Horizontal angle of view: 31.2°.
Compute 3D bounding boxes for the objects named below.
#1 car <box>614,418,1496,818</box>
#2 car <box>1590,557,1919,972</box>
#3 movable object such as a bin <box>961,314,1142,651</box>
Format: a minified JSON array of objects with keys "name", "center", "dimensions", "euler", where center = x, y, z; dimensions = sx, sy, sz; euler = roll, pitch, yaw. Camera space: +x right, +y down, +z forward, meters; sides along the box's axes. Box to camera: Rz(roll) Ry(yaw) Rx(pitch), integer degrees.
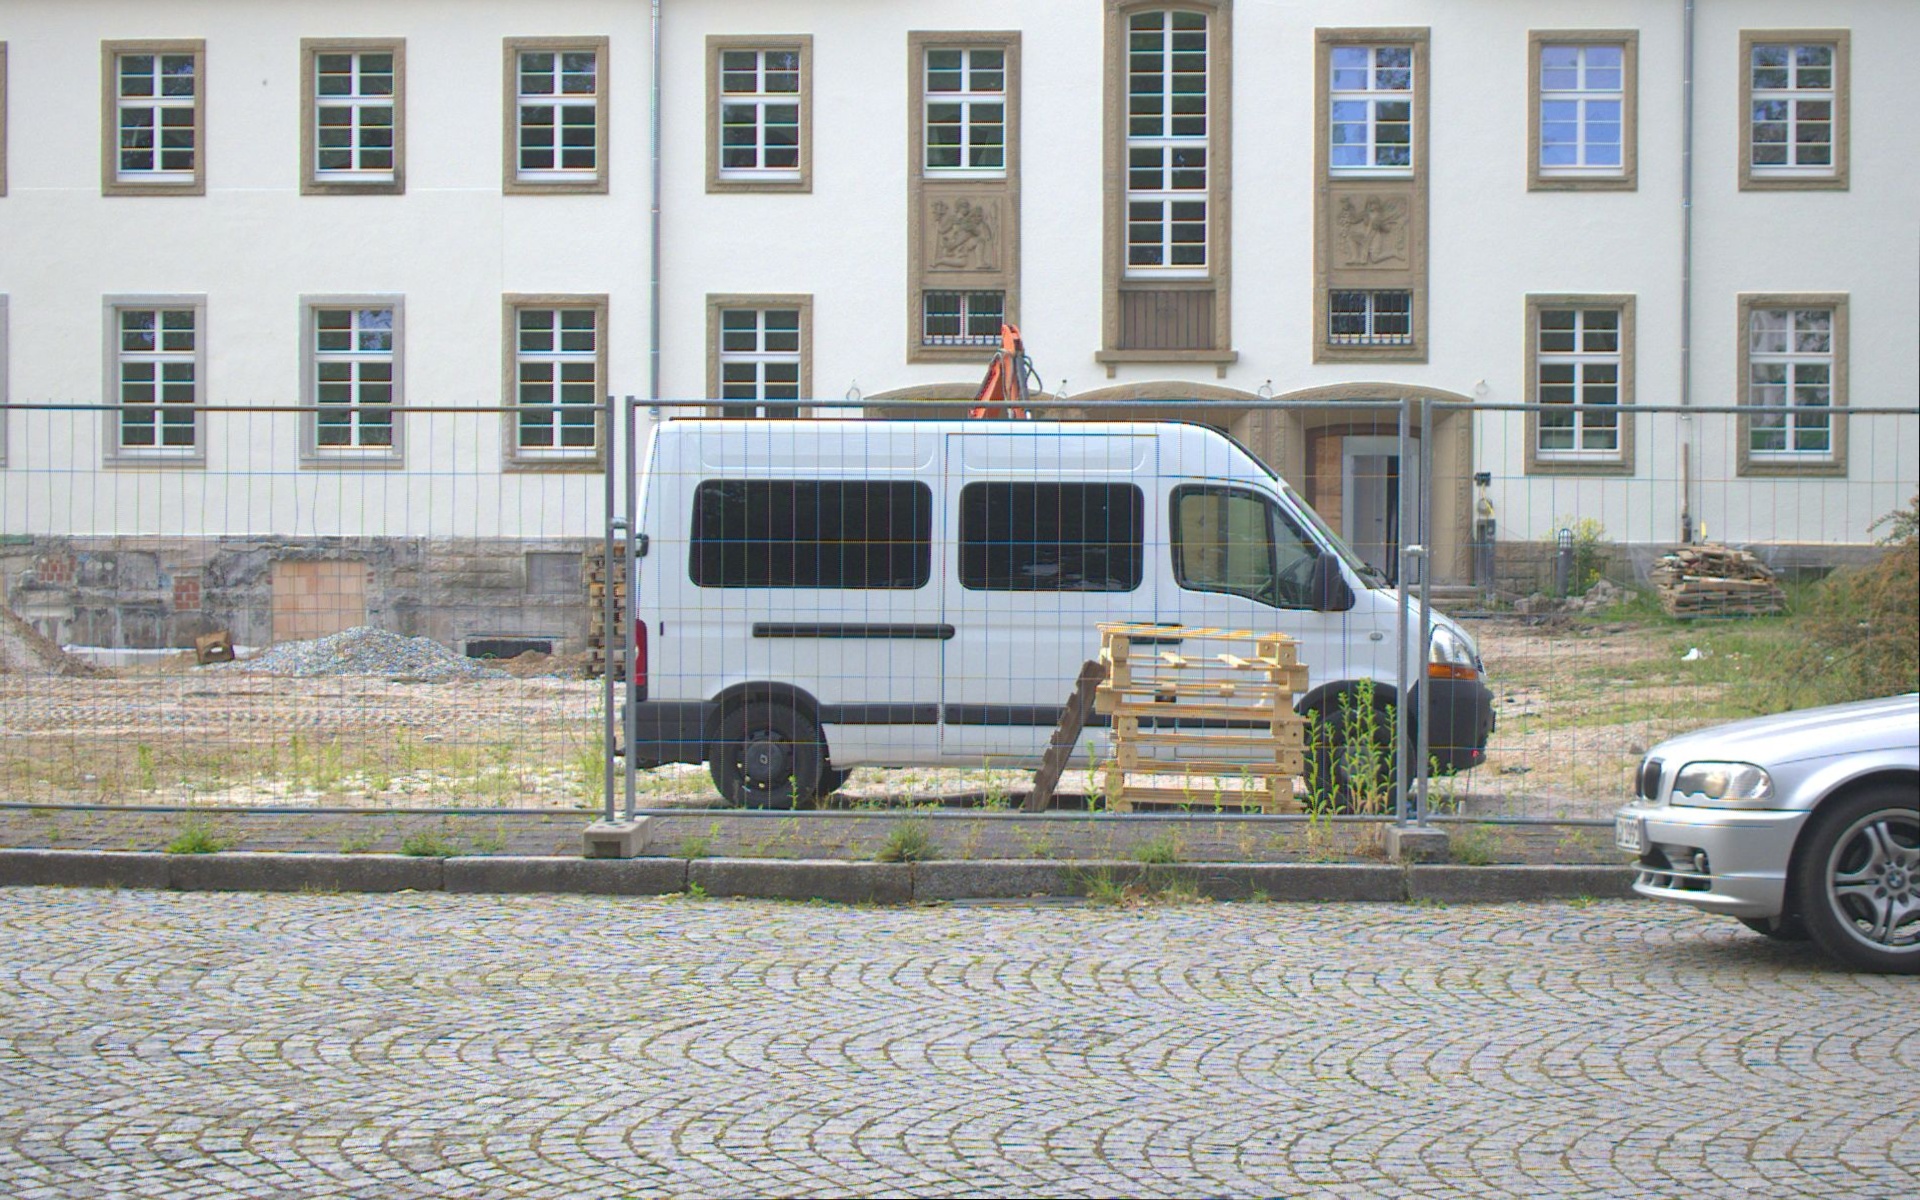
[{"name":"car","center":[0.621,0.072,21.508],"dimensions":[5.264,2.336,1.910],"euler":[1,1,5]},{"name":"car","center":[4.468,0.581,11.954],"dimensions":[4.280,1.342,1.606],"euler":[0,-3,2]},{"name":"movable object such as a bin","center":[1.033,-1.372,41.172],"dimensions":[1.993,3.758,5.318],"euler":[1,1,0]}]
